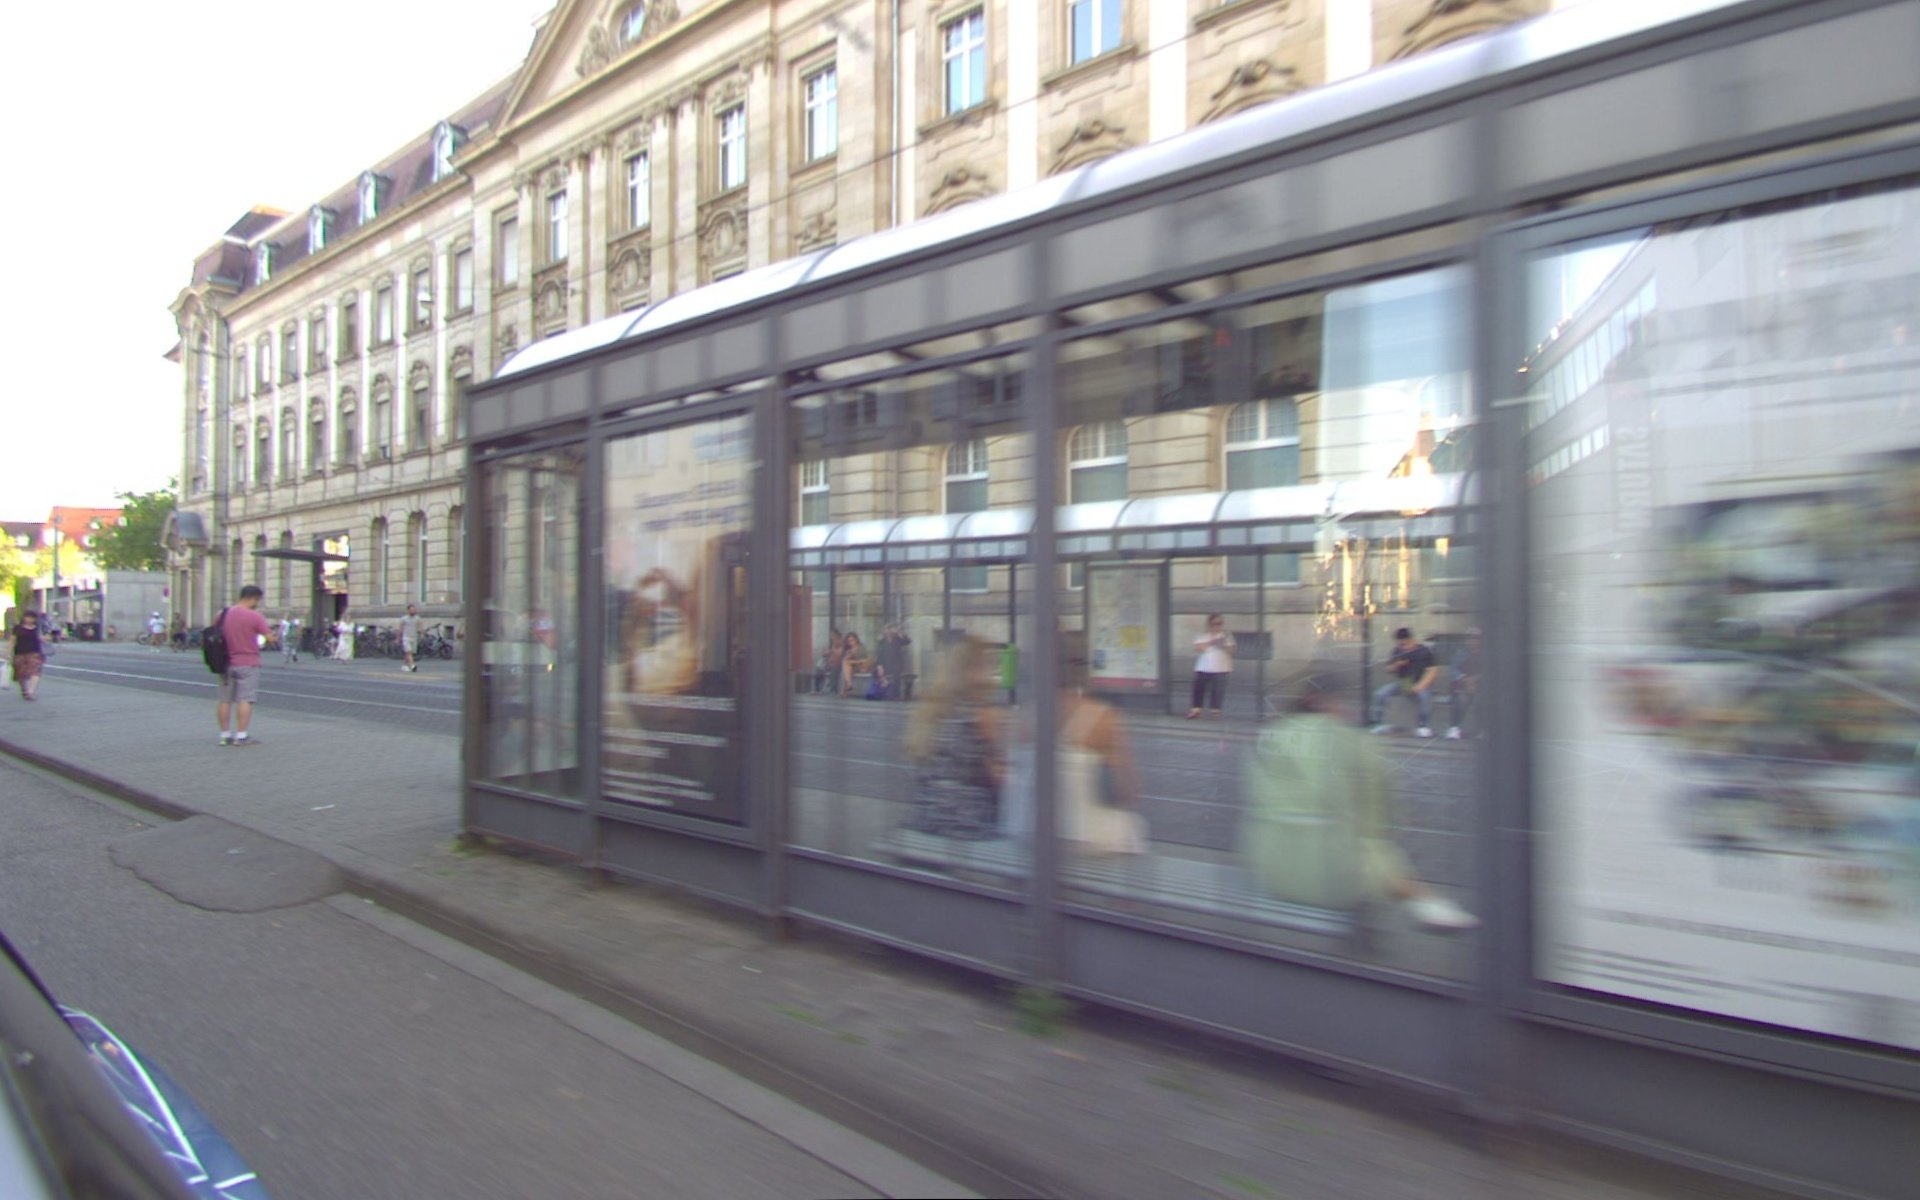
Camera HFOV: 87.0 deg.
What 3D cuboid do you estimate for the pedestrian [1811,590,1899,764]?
[{"bbox_3d":[8.872,0.737,10.045,0.638,1.658,0.512,0,-1,42],"label":"pedestrian"}]

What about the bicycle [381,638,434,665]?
[{"bbox_3d":[-19.278,1.778,35.334,0.451,0.880,1.558,-1,0,42],"label":"bicycle"}]

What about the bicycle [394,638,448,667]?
[{"bbox_3d":[-18.085,1.757,33.968,0.451,0.880,1.558,-1,0,42],"label":"bicycle"}]

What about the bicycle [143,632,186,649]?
[{"bbox_3d":[-44.887,2.296,57.133,0.634,0.875,1.818,-1,0,36],"label":"bicycle"}]

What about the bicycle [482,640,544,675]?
[{"bbox_3d":[-12.623,1.614,28.597,0.451,0.880,1.558,-1,0,42],"label":"bicycle"}]

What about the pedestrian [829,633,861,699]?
[{"bbox_3d":[-1.981,1.129,17.456,0.430,1.111,0.360,-1,0,44],"label":"pedestrian"}]

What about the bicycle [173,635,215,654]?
[{"bbox_3d":[-37.301,2.155,49.301,0.451,0.880,1.558,-1,0,42],"label":"bicycle"}]

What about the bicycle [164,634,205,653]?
[{"bbox_3d":[-38.447,2.165,50.201,0.451,0.880,1.558,-1,0,42],"label":"bicycle"}]

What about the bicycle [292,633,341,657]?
[{"bbox_3d":[-25.195,1.756,39.651,0.451,0.880,1.558,-1,0,42],"label":"bicycle"}]

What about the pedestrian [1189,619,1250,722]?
[{"bbox_3d":[3.487,0.924,13.609,0.638,1.337,0.512,0,-1,42],"label":"pedestrian"}]

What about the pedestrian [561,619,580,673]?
[{"bbox_3d":[-10.708,1.251,27.856,0.433,1.451,0.573,0,0,-16],"label":"pedestrian"}]

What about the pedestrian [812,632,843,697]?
[{"bbox_3d":[-2.345,1.133,17.941,0.430,1.111,0.360,-1,0,44],"label":"pedestrian"}]

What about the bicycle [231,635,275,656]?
[{"bbox_3d":[-31.491,2.019,45.084,0.451,0.880,1.558,-1,0,42],"label":"bicycle"}]

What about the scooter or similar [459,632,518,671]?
[{"bbox_3d":[-14.001,1.512,30.067,0.451,1.076,1.530,-1,0,42],"label":"scooter or similar"}]

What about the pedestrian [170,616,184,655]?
[{"bbox_3d":[-35.069,1.583,45.329,0.370,1.686,0.495,0,0,-19],"label":"pedestrian"}]

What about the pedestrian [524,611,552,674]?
[{"bbox_3d":[-11.018,1.111,26.421,0.570,1.617,0.435,-1,0,35],"label":"pedestrian"}]

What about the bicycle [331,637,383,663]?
[{"bbox_3d":[-21.849,1.800,36.688,0.451,0.880,1.558,-1,0,42],"label":"bicycle"}]

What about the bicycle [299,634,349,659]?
[{"bbox_3d":[-24.670,1.798,39.275,0.451,0.880,1.558,-1,0,42],"label":"bicycle"}]

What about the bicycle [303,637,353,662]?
[{"bbox_3d":[-24.249,1.897,38.862,0.451,0.880,1.558,-1,0,42],"label":"bicycle"}]

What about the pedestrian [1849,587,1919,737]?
[{"bbox_3d":[10.470,0.679,11.372,0.629,1.626,0.693,-1,-1,36],"label":"pedestrian"}]

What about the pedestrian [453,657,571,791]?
[{"bbox_3d":[-3.532,0.945,7.967,0.787,0.946,0.695,0,-1,-29],"label":"pedestrian"}]

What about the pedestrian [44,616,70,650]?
[{"bbox_3d":[-46.942,1.736,52.610,0.675,1.750,0.672,0,-3,18],"label":"pedestrian"}]

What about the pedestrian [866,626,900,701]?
[{"bbox_3d":[-1.292,1.054,16.968,0.430,1.209,0.360,-1,0,44],"label":"pedestrian"}]

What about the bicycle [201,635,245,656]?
[{"bbox_3d":[-33.335,2.034,45.808,0.451,0.880,1.558,-1,0,42],"label":"bicycle"}]

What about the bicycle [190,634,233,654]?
[{"bbox_3d":[-34.919,2.049,47.246,0.451,0.880,1.558,-1,0,42],"label":"bicycle"}]

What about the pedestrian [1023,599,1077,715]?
[{"bbox_3d":[1.320,0.821,14.858,0.510,1.663,0.640,1,-1,-30],"label":"pedestrian"}]

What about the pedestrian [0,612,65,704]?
[{"bbox_3d":[-15.884,0.968,17.200,0.900,1.512,0.838,-1,-2,38],"label":"pedestrian"}]

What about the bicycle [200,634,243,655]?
[{"bbox_3d":[-34.200,2.059,46.901,0.451,0.880,1.558,-1,0,42],"label":"bicycle"}]

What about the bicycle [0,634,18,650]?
[{"bbox_3d":[-75.217,3.293,79.237,0.691,1.168,2.105,-1,-2,39],"label":"bicycle"}]

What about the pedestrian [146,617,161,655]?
[{"bbox_3d":[-35.801,1.587,44.906,0.370,1.643,0.495,0,0,-18],"label":"pedestrian"}]

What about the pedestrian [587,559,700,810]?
[{"bbox_3d":[-2.248,0.579,7.253,0.666,1.704,0.639,1,-1,-8],"label":"pedestrian"}]

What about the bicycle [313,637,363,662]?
[{"bbox_3d":[-23.432,1.853,38.129,0.451,0.880,1.558,-1,0,42],"label":"bicycle"}]

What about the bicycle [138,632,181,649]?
[{"bbox_3d":[-45.495,2.301,57.527,0.634,0.875,1.818,-1,0,36],"label":"bicycle"}]

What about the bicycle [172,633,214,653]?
[{"bbox_3d":[-36.744,2.065,48.504,0.451,0.880,1.558,-1,0,42],"label":"bicycle"}]

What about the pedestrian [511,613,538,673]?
[{"bbox_3d":[-12.141,1.195,28.208,0.562,1.654,0.471,-1,0,40],"label":"pedestrian"}]

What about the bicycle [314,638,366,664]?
[{"bbox_3d":[-22.610,1.855,36.907,0.451,0.880,1.558,-1,0,42],"label":"bicycle"}]

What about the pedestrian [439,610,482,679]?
[{"bbox_3d":[-12.782,1.117,25.879,0.814,1.725,0.686,-1,-2,36],"label":"pedestrian"}]

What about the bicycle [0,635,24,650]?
[{"bbox_3d":[-73.915,3.281,78.276,0.691,1.168,2.105,-1,-2,39],"label":"bicycle"}]

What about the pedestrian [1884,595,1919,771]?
[{"bbox_3d":[8.892,0.752,9.256,0.638,1.581,0.512,0,-1,42],"label":"pedestrian"}]

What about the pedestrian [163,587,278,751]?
[{"bbox_3d":[-7.788,0.701,10.701,0.676,1.650,0.863,0,-1,-11],"label":"pedestrian"}]

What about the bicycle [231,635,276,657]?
[{"bbox_3d":[-31.053,2.015,44.476,0.451,0.880,1.558,-1,0,42],"label":"bicycle"}]

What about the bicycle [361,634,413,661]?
[{"bbox_3d":[-20.529,1.686,36.264,0.451,0.880,1.558,-1,0,42],"label":"bicycle"}]

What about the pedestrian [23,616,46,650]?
[{"bbox_3d":[-47.871,1.702,52.334,0.592,1.750,0.643,-1,-3,29],"label":"pedestrian"}]

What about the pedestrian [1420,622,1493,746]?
[{"bbox_3d":[5.614,0.925,11.447,0.638,1.337,0.512,0,-1,42],"label":"pedestrian"}]

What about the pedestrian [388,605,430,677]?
[{"bbox_3d":[-14.305,1.060,26.291,0.813,1.826,0.685,-1,-2,38],"label":"pedestrian"}]

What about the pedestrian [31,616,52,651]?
[{"bbox_3d":[-46.985,1.714,51.781,0.669,1.750,0.483,3,-4,-38],"label":"pedestrian"}]

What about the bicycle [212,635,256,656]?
[{"bbox_3d":[-32.479,2.027,45.292,0.451,0.880,1.558,-1,0,42],"label":"bicycle"}]

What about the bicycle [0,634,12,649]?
[{"bbox_3d":[-76.661,3.305,80.203,0.691,1.168,2.105,-1,-2,39],"label":"bicycle"}]

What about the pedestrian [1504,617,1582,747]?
[{"bbox_3d":[6.253,0.854,10.852,0.638,1.337,0.512,0,-1,42],"label":"pedestrian"}]

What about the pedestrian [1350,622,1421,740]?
[{"bbox_3d":[5.011,0.930,11.921,0.638,1.337,0.512,0,-1,42],"label":"pedestrian"}]

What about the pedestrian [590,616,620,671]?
[{"bbox_3d":[-9.874,1.203,28.166,0.589,1.501,0.538,0,0,15],"label":"pedestrian"}]

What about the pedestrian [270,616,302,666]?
[{"bbox_3d":[-21.541,1.292,32.333,0.650,1.573,0.681,0,-1,-14],"label":"pedestrian"}]

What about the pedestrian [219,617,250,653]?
[{"bbox_3d":[-30.782,1.476,42.930,0.771,1.544,0.734,-1,-1,16],"label":"pedestrian"}]

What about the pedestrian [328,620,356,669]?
[{"bbox_3d":[-19.002,1.370,31.102,0.683,1.477,0.557,1,-2,-36],"label":"pedestrian"}]
